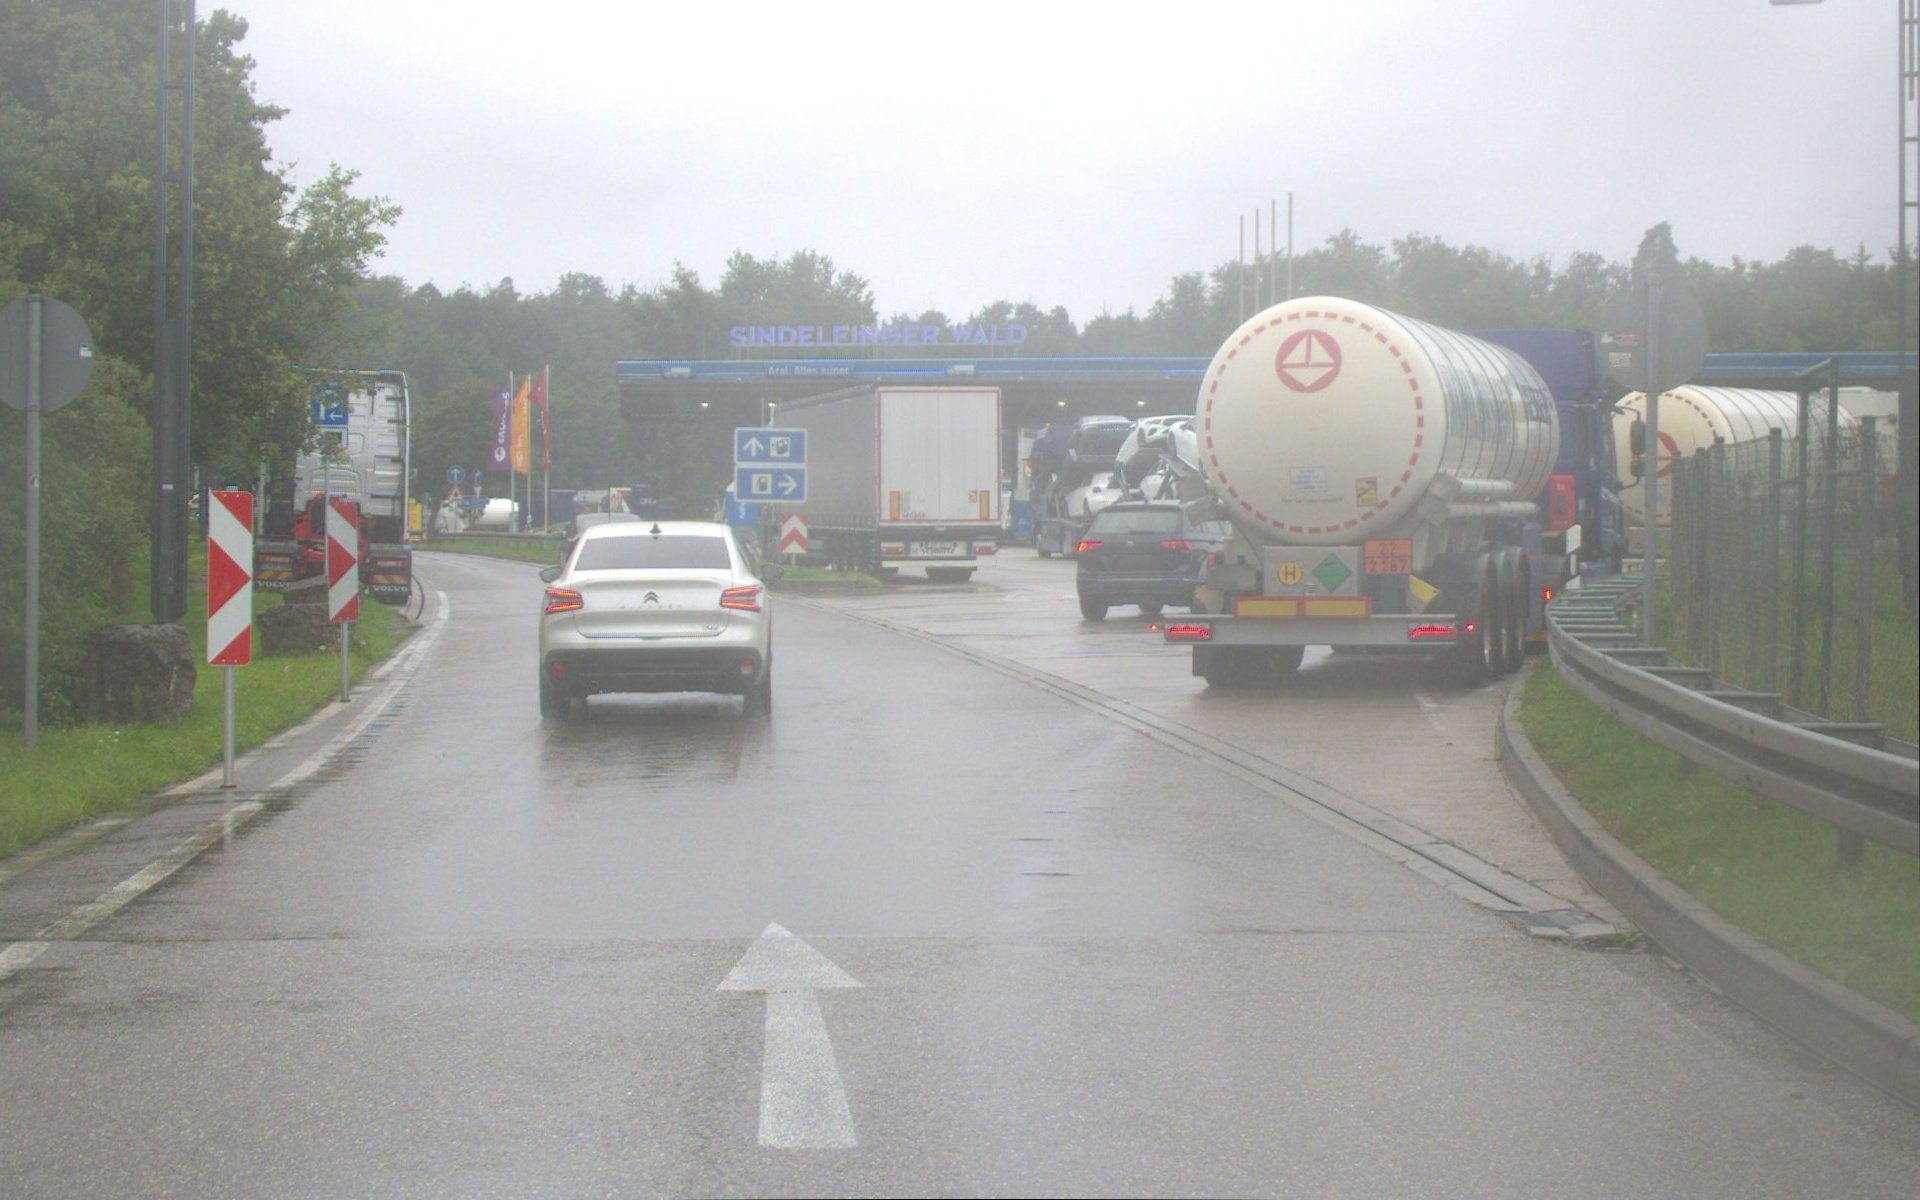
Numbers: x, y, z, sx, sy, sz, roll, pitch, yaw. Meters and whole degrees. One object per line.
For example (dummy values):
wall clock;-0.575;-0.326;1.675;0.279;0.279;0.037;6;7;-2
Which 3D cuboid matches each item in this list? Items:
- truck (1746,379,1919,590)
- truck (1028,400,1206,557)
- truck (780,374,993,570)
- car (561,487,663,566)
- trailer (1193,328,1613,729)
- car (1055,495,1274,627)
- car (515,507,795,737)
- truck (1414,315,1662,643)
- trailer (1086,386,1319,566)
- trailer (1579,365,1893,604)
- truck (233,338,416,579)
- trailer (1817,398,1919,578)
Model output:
truck;15.357;-1.995;59.732;2.149;3.501;4.639;1;2;28
truck;4.310;-3.419;96.661;3.233;4.174;8.446;1;2;-9
truck;-1.764;-2.734;73.987;2.370;3.860;12.459;-1;2;-12
car;-6.749;-1.425;66.985;1.878;1.456;4.001;1;1;-4
trailer;4.501;-0.707;32.772;1.982;3.213;10.312;1;2;19
car;2.897;-0.512;47.781;1.745;1.661;3.995;2;0;23
car;-2.331;0.158;27.227;1.993;1.673;4.000;0;0;-2
truck;6.689;-1.366;39.391;2.055;3.519;4.742;1;2;19
trailer;5.931;-3.128;86.822;3.215;4.174;11.533;1;2;-9
trailer;12.430;-1.802;54.253;2.134;3.428;10.237;1;2;28
truck;-10.893;-2.376;58.807;2.914;3.891;6.318;0;2;-11
trailer;19.528;-2.230;68.435;2.187;3.380;7.549;1;2;35
